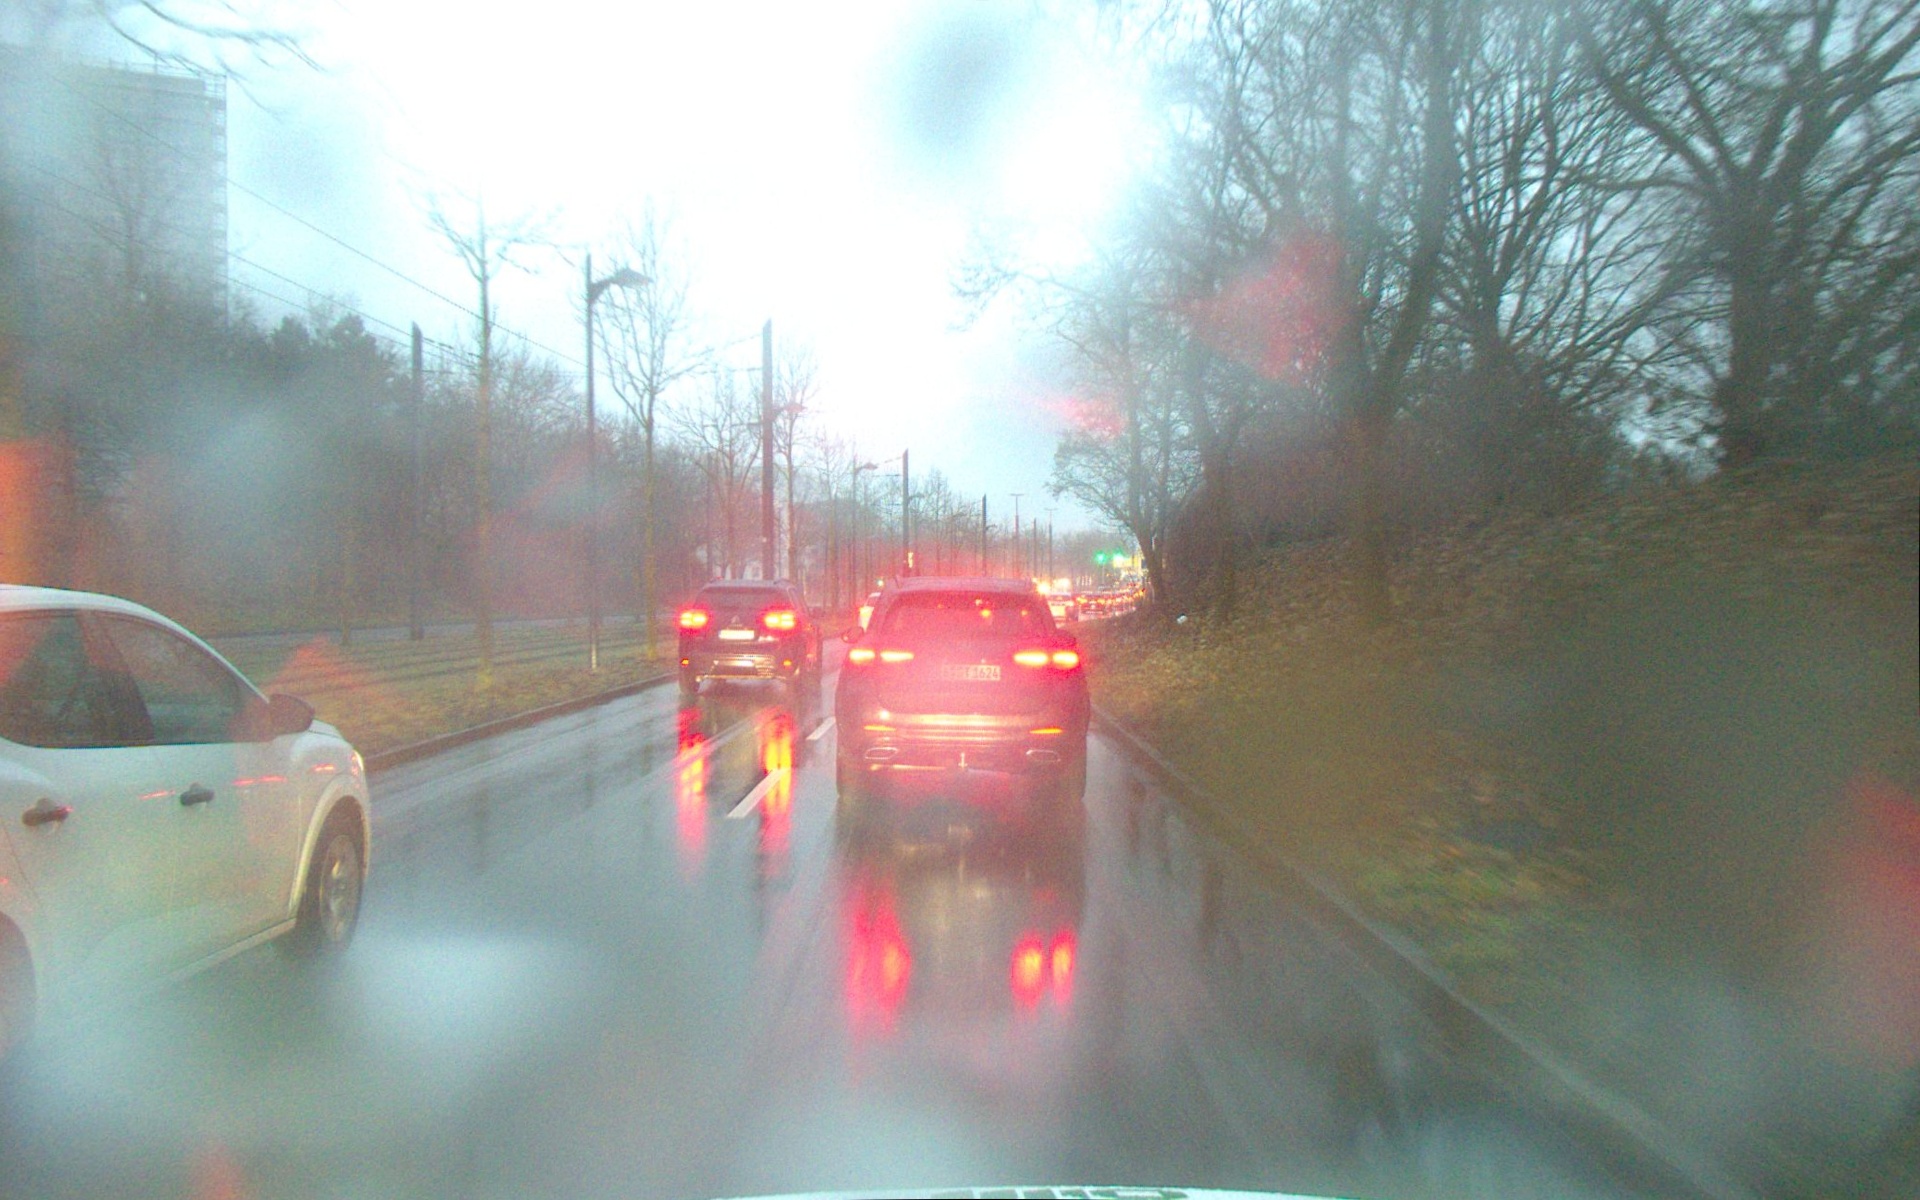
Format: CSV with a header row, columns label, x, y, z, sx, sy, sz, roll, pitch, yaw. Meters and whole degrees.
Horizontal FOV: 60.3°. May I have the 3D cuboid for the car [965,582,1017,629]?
label,x,y,z,sx,sy,sz,roll,pitch,yaw
car,1.111,0.159,58.078,1.673,1.585,3.998,0,0,3

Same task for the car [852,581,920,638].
label,x,y,z,sx,sy,sz,roll,pitch,yaw
car,-2.194,0.255,50.211,1.841,1.621,4.000,0,1,0

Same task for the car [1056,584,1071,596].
label,x,y,z,sx,sy,sz,roll,pitch,yaw
car,15.206,-1.516,242.567,1.951,1.695,3.839,-1,0,8

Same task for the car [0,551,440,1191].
label,x,y,z,sx,sy,sz,roll,pitch,yaw
car,-3.152,0.654,5.199,1.673,1.551,4.135,0,0,1

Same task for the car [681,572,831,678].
label,x,y,z,sx,sy,sz,roll,pitch,yaw
car,-3.072,0.324,25.618,1.842,1.484,4.000,-1,1,0

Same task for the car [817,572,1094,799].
label,x,y,z,sx,sy,sz,roll,pitch,yaw
car,-0.086,0.584,13.755,1.958,1.612,3.999,0,1,-2
